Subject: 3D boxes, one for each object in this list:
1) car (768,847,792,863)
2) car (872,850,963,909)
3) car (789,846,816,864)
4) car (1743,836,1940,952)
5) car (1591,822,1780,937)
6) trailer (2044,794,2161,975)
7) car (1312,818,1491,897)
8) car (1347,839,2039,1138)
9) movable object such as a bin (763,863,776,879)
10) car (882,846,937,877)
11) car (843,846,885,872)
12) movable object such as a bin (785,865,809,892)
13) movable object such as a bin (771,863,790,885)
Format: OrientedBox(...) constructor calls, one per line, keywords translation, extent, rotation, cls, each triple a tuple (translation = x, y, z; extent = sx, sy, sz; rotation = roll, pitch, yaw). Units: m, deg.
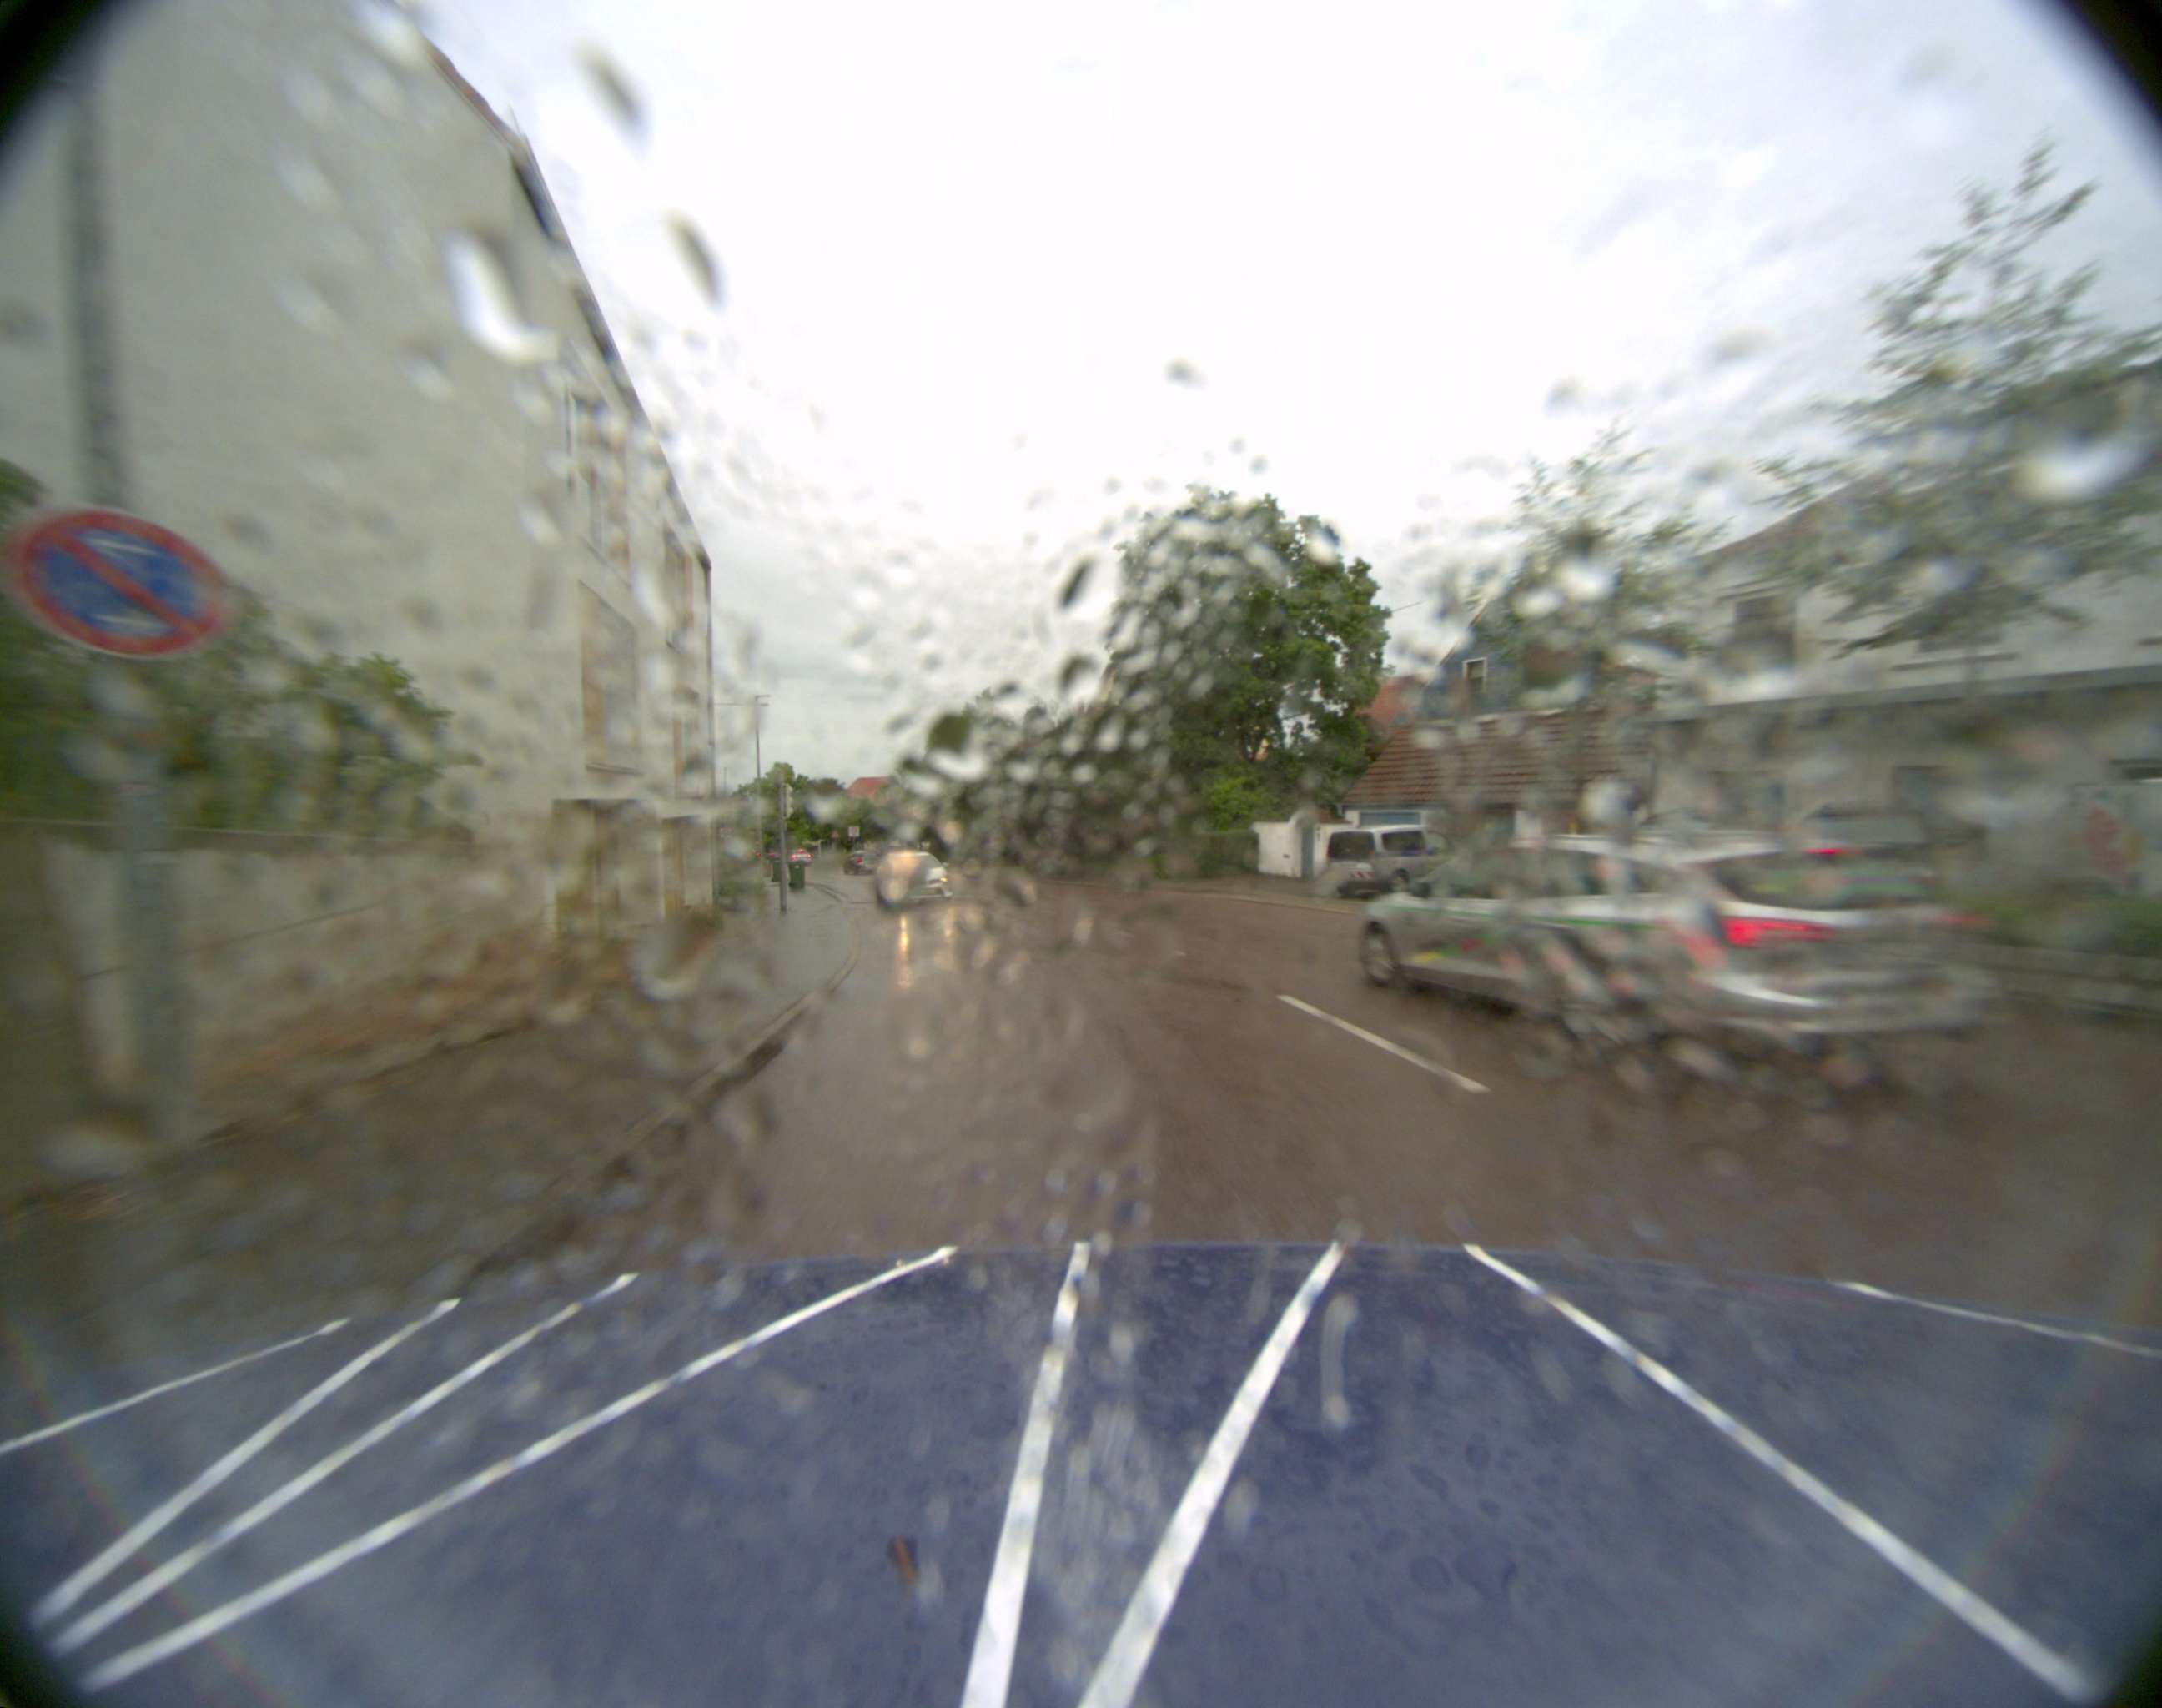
OrientedBox(translation=(-35.626, 0.133, 89.884), extent=(1.927, 1.614, 4.354), rotation=(-3, -1, -29), cls="car")
OrientedBox(translation=(-4.952, 0.664, 22.589), extent=(1.862, 1.427, 4.008), rotation=(-4, 3, -23), cls="car")
OrientedBox(translation=(-25.878, 0.116, 70.550), extent=(1.813, 1.545, 3.820), rotation=(-3, 2, -29), cls="car")
OrientedBox(translation=(12.087, 0.523, 12.031), extent=(3.351, 1.477, 1.834), rotation=(-3, 2, -38), cls="car")
OrientedBox(translation=(11.474, 0.365, 14.335), extent=(4.096, 1.764, 1.794), rotation=(-4, 2, -37), cls="car")
OrientedBox(translation=(14.486, 0.334, 9.681), extent=(1.947, 2.090, 3.969), rotation=(1, 2, 40), cls="trailer")
OrientedBox(translation=(8.297, 0.037, 19.653), extent=(4.124, 1.790, 1.996), rotation=(-3, 2, -26), cls="car")
OrientedBox(translation=(3.859, 0.636, 5.903), extent=(1.600, 1.405, 4.233), rotation=(-2, 1, -8), cls="car")
OrientedBox(translation=(-18.623, 1.012, 45.369), extent=(0.633, 0.892, 0.710), rotation=(-3, 2, -27), cls="movable object such as a bin")
OrientedBox(translation=(-8.503, 0.340, 37.429), extent=(1.684, 1.397, 3.669), rotation=(-3, 2, -28), cls="car")
OrientedBox(translation=(-13.287, 0.287, 46.440), extent=(1.827, 1.414, 3.891), rotation=(-3, 1, -25), cls="car")
OrientedBox(translation=(-11.991, 1.023, 32.065), extent=(0.839, 1.055, 0.748), rotation=(-3, 2, -26), cls="movable object such as a bin")
OrientedBox(translation=(-15.328, 1.030, 38.716), extent=(0.800, 1.064, 0.759), rotation=(-3, 2, -26), cls="movable object such as a bin")
